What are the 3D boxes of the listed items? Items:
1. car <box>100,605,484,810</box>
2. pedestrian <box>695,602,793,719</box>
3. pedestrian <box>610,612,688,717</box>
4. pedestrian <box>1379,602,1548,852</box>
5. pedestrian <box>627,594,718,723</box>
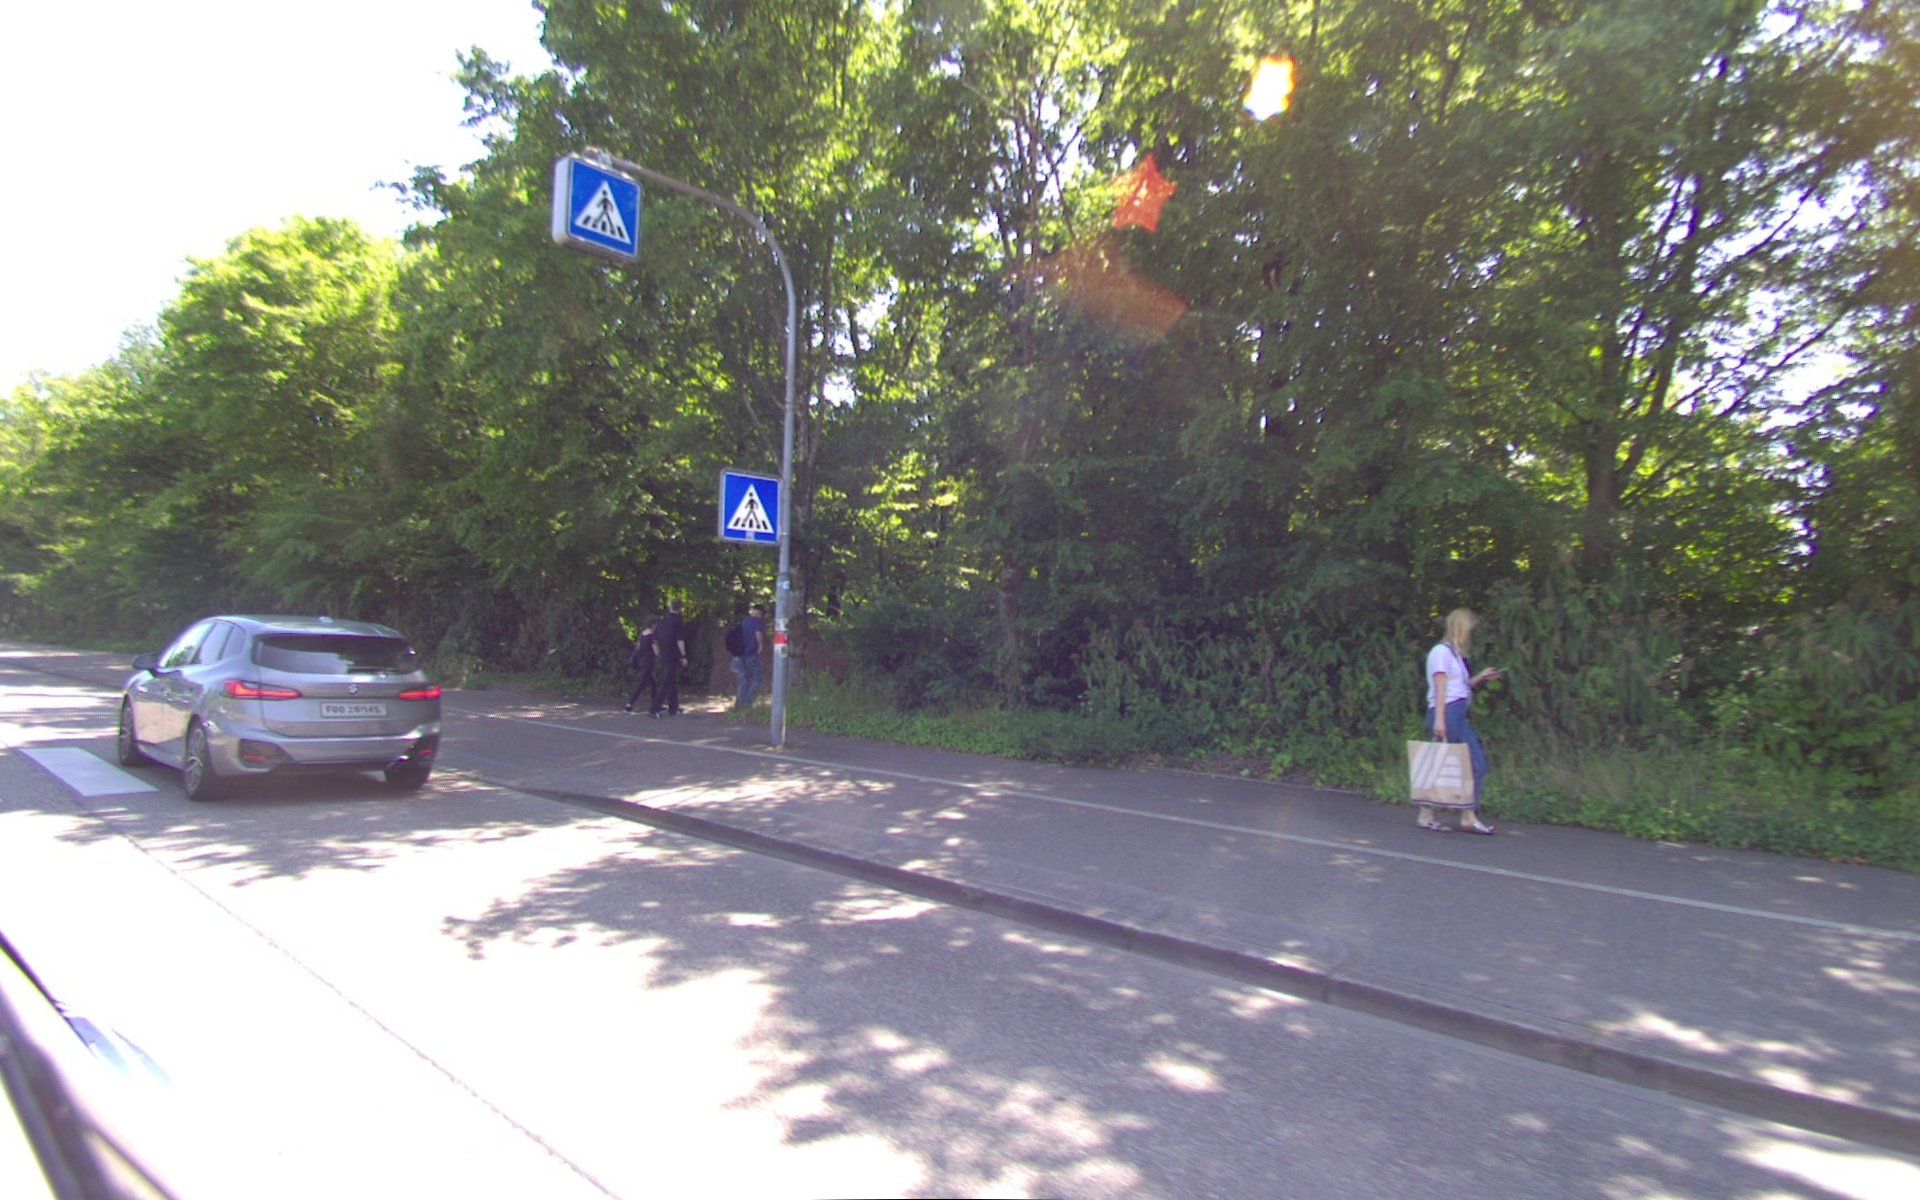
[{"bbox_3d":[-6.516,0.917,9.701,4.194,1.544,1.871,-1,-6,40],"label":"car"},{"bbox_3d":[-3.437,0.946,16.121,1.022,1.765,1.144,-3,-3,38],"label":"pedestrian"},{"bbox_3d":[-4.970,1.002,16.210,0.779,1.623,0.886,0,-1,34],"label":"pedestrian"},{"bbox_3d":[3.598,0.837,7.225,0.885,1.625,0.922,-1,-2,40],"label":"pedestrian"},{"bbox_3d":[-4.402,0.870,15.522,0.782,1.878,1.074,0,-1,33],"label":"pedestrian"}]
